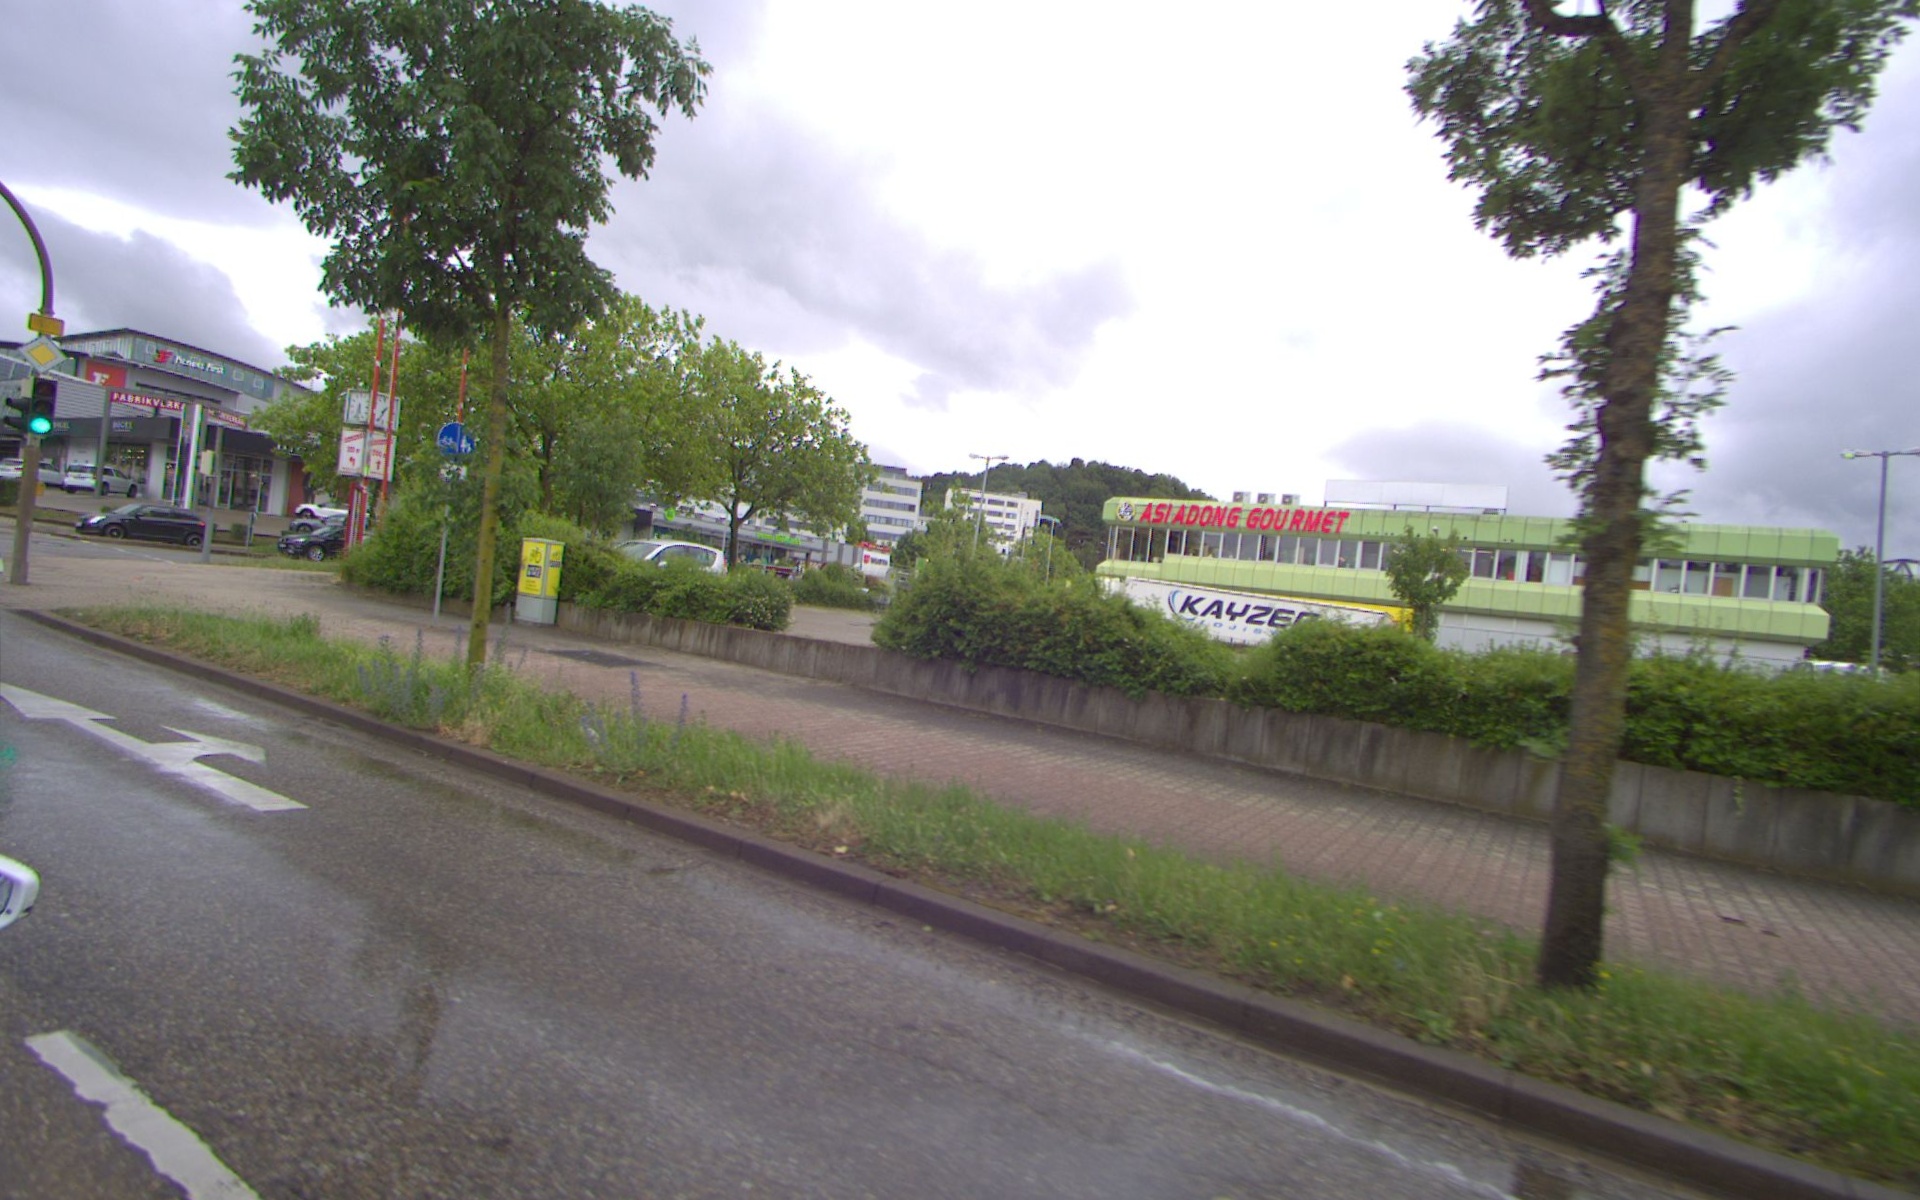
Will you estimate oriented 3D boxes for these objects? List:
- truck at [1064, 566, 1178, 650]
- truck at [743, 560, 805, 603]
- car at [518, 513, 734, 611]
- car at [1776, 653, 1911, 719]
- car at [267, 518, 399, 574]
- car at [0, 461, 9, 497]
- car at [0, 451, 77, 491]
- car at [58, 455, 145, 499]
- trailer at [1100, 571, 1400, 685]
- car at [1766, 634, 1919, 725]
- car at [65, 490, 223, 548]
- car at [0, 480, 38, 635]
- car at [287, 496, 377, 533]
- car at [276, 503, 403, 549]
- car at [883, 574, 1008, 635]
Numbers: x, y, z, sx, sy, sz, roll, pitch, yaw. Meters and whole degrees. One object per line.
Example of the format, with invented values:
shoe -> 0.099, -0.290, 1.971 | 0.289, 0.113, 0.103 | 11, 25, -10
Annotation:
truck -> 9.095, 0.456, 56.668 | 5.051, 3.759, 3.158 | 9, -1, 32
truck -> -12.743, -1.223, 69.083 | 1.787, 2.516, 3.983 | 7, 0, 32
car -> -6.794, -0.728, 20.849 | 1.628, 1.460, 3.990 | 8, 0, 34
car -> 30.147, 2.919, 34.544 | 2.340, 1.801, 4.976 | 8, 0, 30
car -> -25.629, -2.167, 41.228 | 1.711, 1.565, 4.144 | 6, -3, 36
car -> -43.390, -5.485, 43.172 | 1.903, 1.596, 4.272 | 7, 0, -17
car -> -56.271, -7.831, 61.152 | 1.708, 1.793, 4.148 | 7, 0, -8
car -> -48.068, -6.858, 56.429 | 1.709, 1.793, 4.144 | 7, 0, -11
trailer -> 14.884, 1.328, 52.950 | 14.567, 3.759, 3.158 | 9, -1, 32
car -> 22.317, 2.007, 25.224 | 2.340, 1.801, 4.976 | 8, 0, 30
car -> -29.267, -2.876, 36.188 | 1.787, 1.507, 3.983 | 7, 0, 32
car -> -12.033, -0.750, 10.808 | 4.542, 1.562, 1.805 | 7, -2, 31
car -> -37.654, -5.114, 60.429 | 4.084, 1.499, 1.735 | 8, 0, -9
car -> -31.271, -3.705, 50.863 | 4.930, 1.504, 1.994 | 8, 0, -14
car -> -0.385, 0.192, 32.262 | 1.968, 1.460, 3.990 | 8, 0, 34
